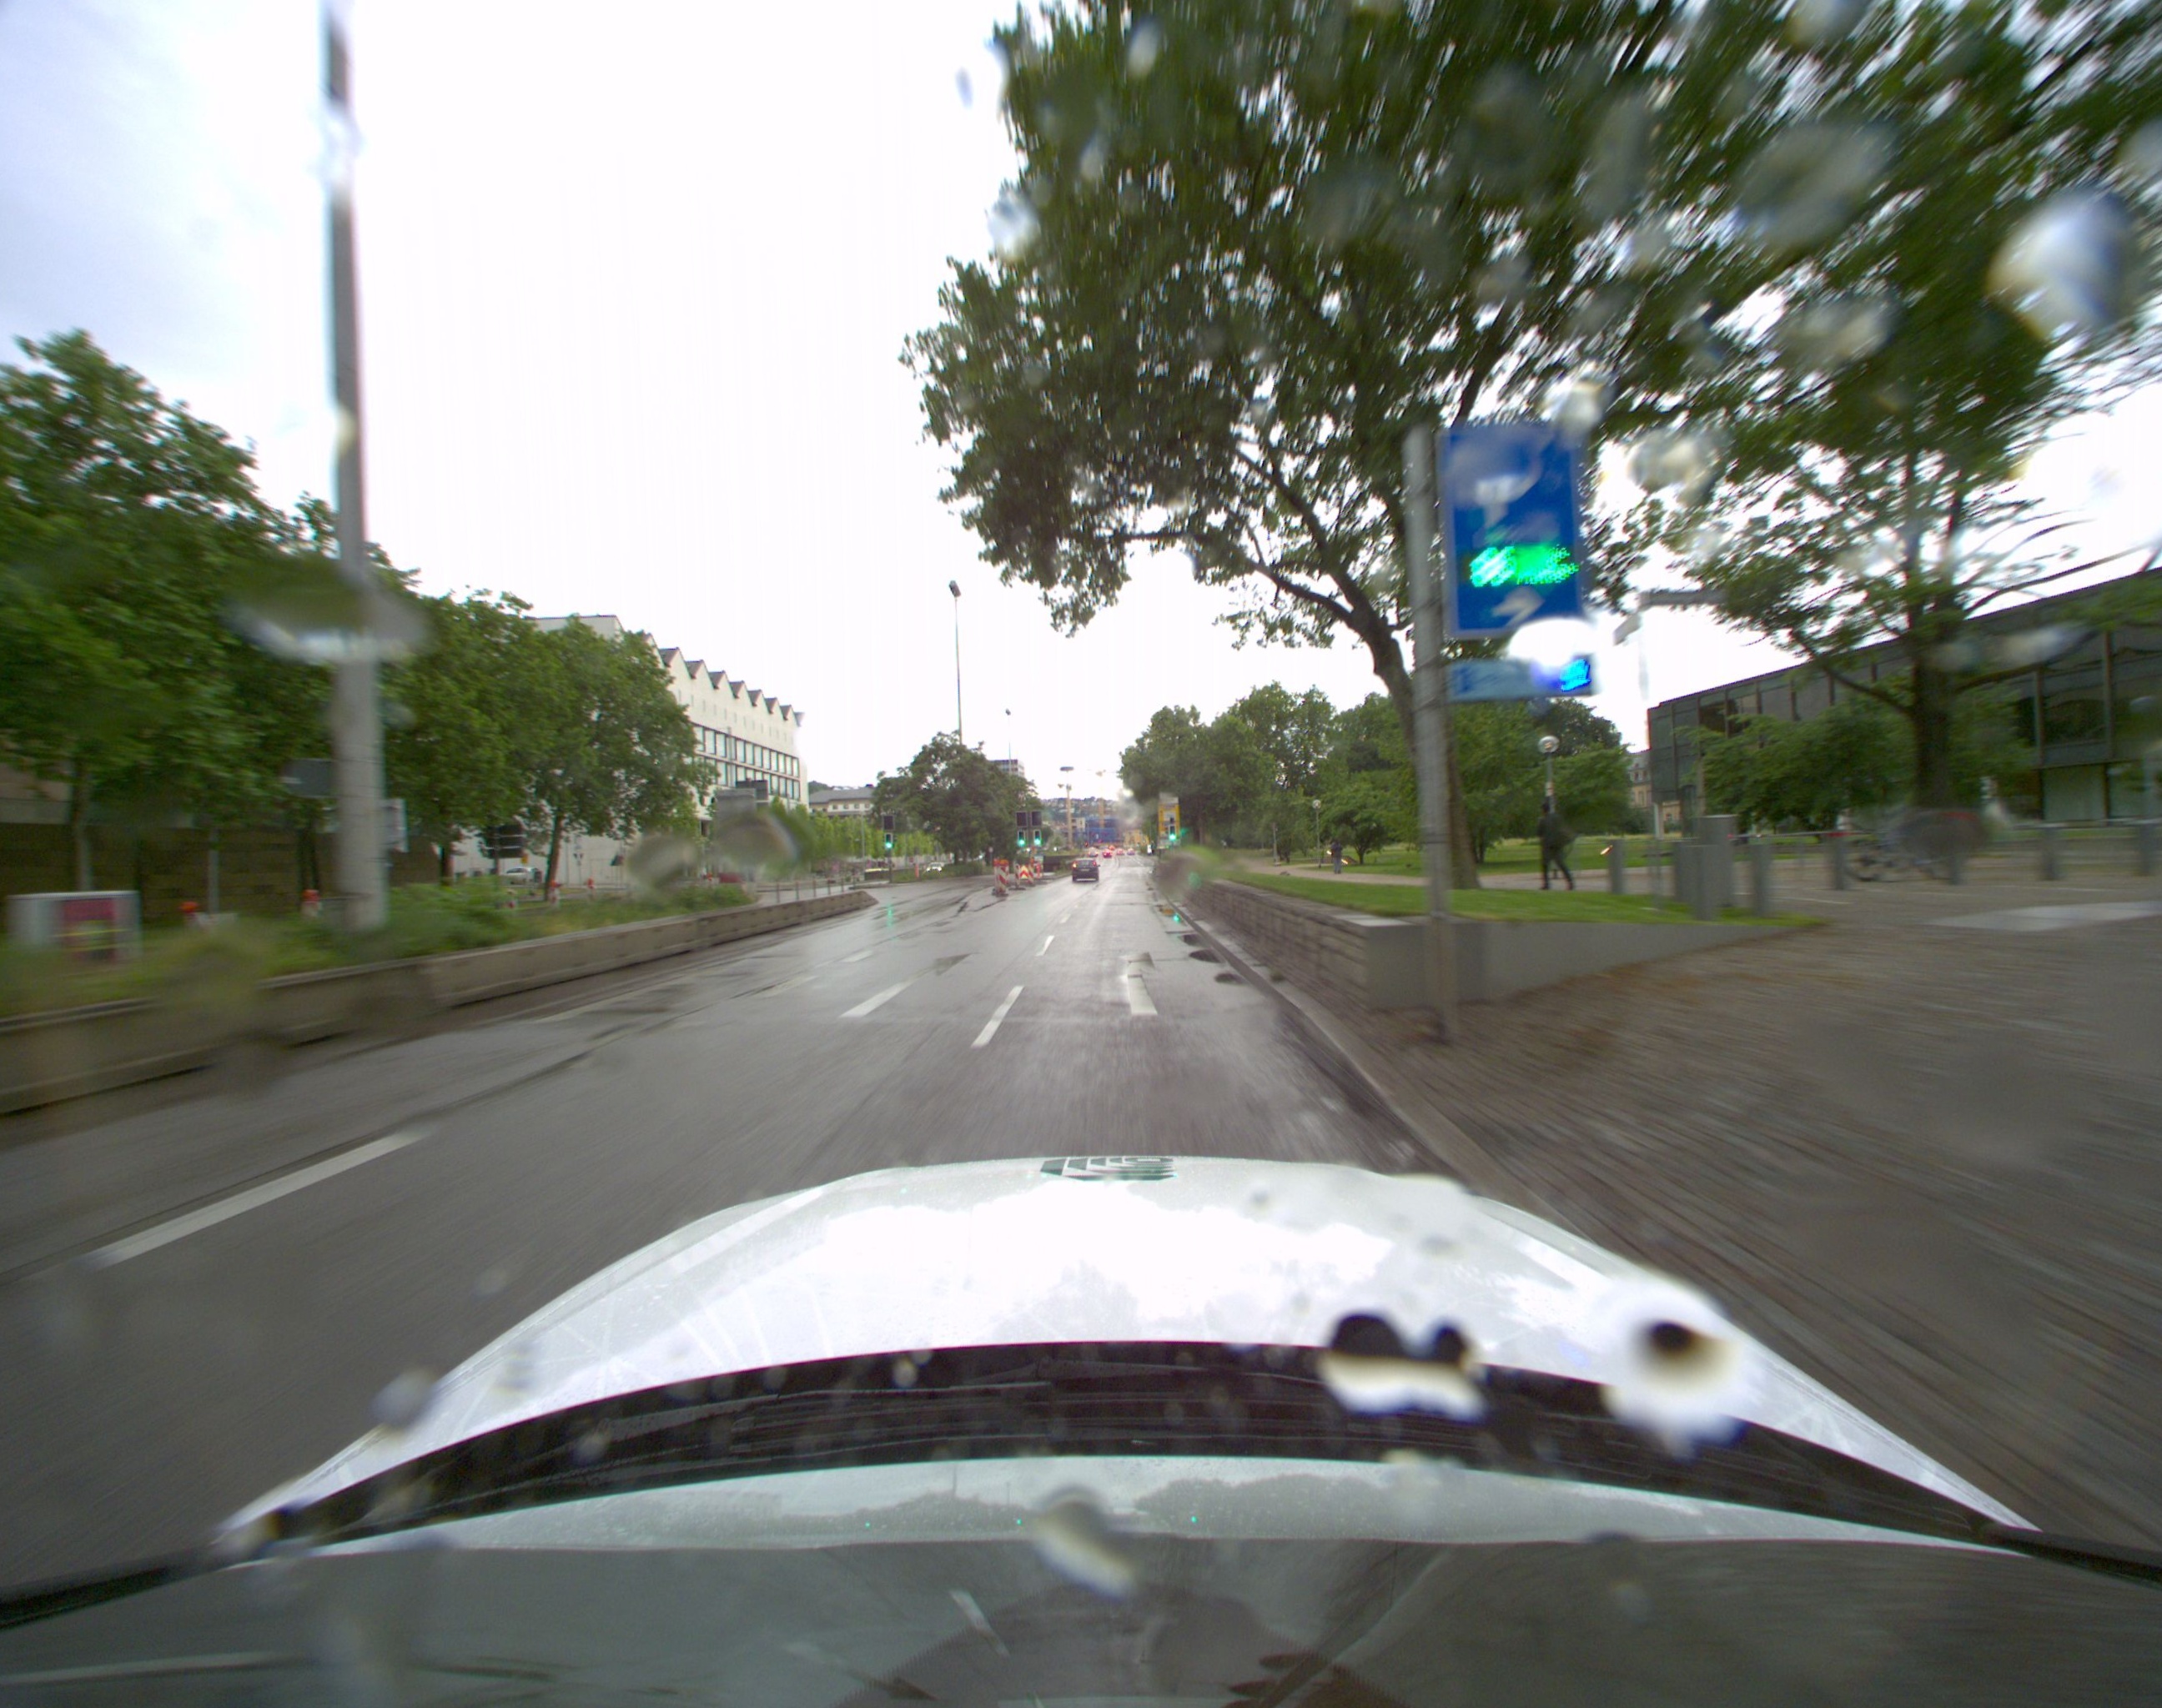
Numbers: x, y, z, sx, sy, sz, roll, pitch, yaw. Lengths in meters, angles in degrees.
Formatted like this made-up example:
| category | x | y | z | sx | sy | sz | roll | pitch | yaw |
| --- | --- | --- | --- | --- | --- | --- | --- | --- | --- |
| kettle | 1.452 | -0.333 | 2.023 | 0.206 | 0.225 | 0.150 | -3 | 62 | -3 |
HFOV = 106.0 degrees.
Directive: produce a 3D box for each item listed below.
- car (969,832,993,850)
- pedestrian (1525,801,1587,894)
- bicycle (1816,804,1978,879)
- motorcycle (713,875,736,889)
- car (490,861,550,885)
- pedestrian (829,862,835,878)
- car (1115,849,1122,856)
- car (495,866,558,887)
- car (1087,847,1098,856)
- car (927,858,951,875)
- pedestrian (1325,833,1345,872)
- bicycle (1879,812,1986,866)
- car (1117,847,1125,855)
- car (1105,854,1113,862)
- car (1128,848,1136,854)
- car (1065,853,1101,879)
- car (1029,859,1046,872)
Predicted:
| category | x | y | z | sx | sy | sz | roll | pitch | yaw |
| --- | --- | --- | --- | --- | --- | --- | --- | --- | --- |
| car | -9.562 | -1.224 | 77.885 | 1.989 | 1.632 | 3.995 | -2 | 0 | -3 |
| pedestrian | 9.223 | -0.130 | 15.849 | 0.702 | 1.718 | 0.693 | -4 | 0 | 1 |
| bicycle | 14.015 | -0.215 | 14.022 | 2.034 | 1.173 | 0.957 | -3 | 0 | -10 |
| motorcycle | -31.370 | 2.470 | 71.699 | 1.844 | 1.154 | 0.423 | -3 | -1 | -26 |
| car | -49.430 | 1.688 | 71.813 | 3.967 | 2.013 | 2.004 | 0 | 2 | 6 |
| pedestrian | -32.178 | 2.078 | 105.228 | 0.543 | 2.014 | 0.525 | -3 | -2 | -34 |
| car | 10.234 | -0.328 | 223.581 | 1.705 | 1.690 | 3.853 | -4 | -1 | 4 |
| car | -47.897 | 1.934 | 70.451 | 3.976 | 1.596 | 1.999 | -2 | 0 | -2 |
| car | 2.902 | -0.574 | 201.613 | 2.208 | 2.014 | 4.006 | 0 | -1 | 6 |
| car | -17.267 | 1.537 | 99.155 | 1.988 | 1.840 | 4.890 | -4 | -1 | -1 |
| pedestrian | 11.759 | -0.077 | 37.678 | 0.593 | 1.755 | 0.725 | -4 | 0 | -1 |
| bicycle | 18.337 | -0.320 | 17.560 | 1.638 | 1.085 | 0.708 | -3 | 0 | -5 |
| car | 10.604 | -0.874 | 218.030 | 1.979 | 2.014 | 4.002 | -4 | -1 | 3 |
| car | 6.497 | 1.039 | 191.473 | 1.732 | 1.771 | 4.002 | -4 | -1 | 2 |
| car | 13.833 | -0.834 | 221.474 | 1.985 | 1.599 | 4.004 | -4 | -1 | 4 |
| car | 0.087 | 0.742 | 51.396 | 1.841 | 1.416 | 3.832 | -4 | 0 | -5 |
| car | -6.341 | 1.640 | 118.152 | 1.986 | 1.781 | 4.003 | -3 | 0 | 2 |
